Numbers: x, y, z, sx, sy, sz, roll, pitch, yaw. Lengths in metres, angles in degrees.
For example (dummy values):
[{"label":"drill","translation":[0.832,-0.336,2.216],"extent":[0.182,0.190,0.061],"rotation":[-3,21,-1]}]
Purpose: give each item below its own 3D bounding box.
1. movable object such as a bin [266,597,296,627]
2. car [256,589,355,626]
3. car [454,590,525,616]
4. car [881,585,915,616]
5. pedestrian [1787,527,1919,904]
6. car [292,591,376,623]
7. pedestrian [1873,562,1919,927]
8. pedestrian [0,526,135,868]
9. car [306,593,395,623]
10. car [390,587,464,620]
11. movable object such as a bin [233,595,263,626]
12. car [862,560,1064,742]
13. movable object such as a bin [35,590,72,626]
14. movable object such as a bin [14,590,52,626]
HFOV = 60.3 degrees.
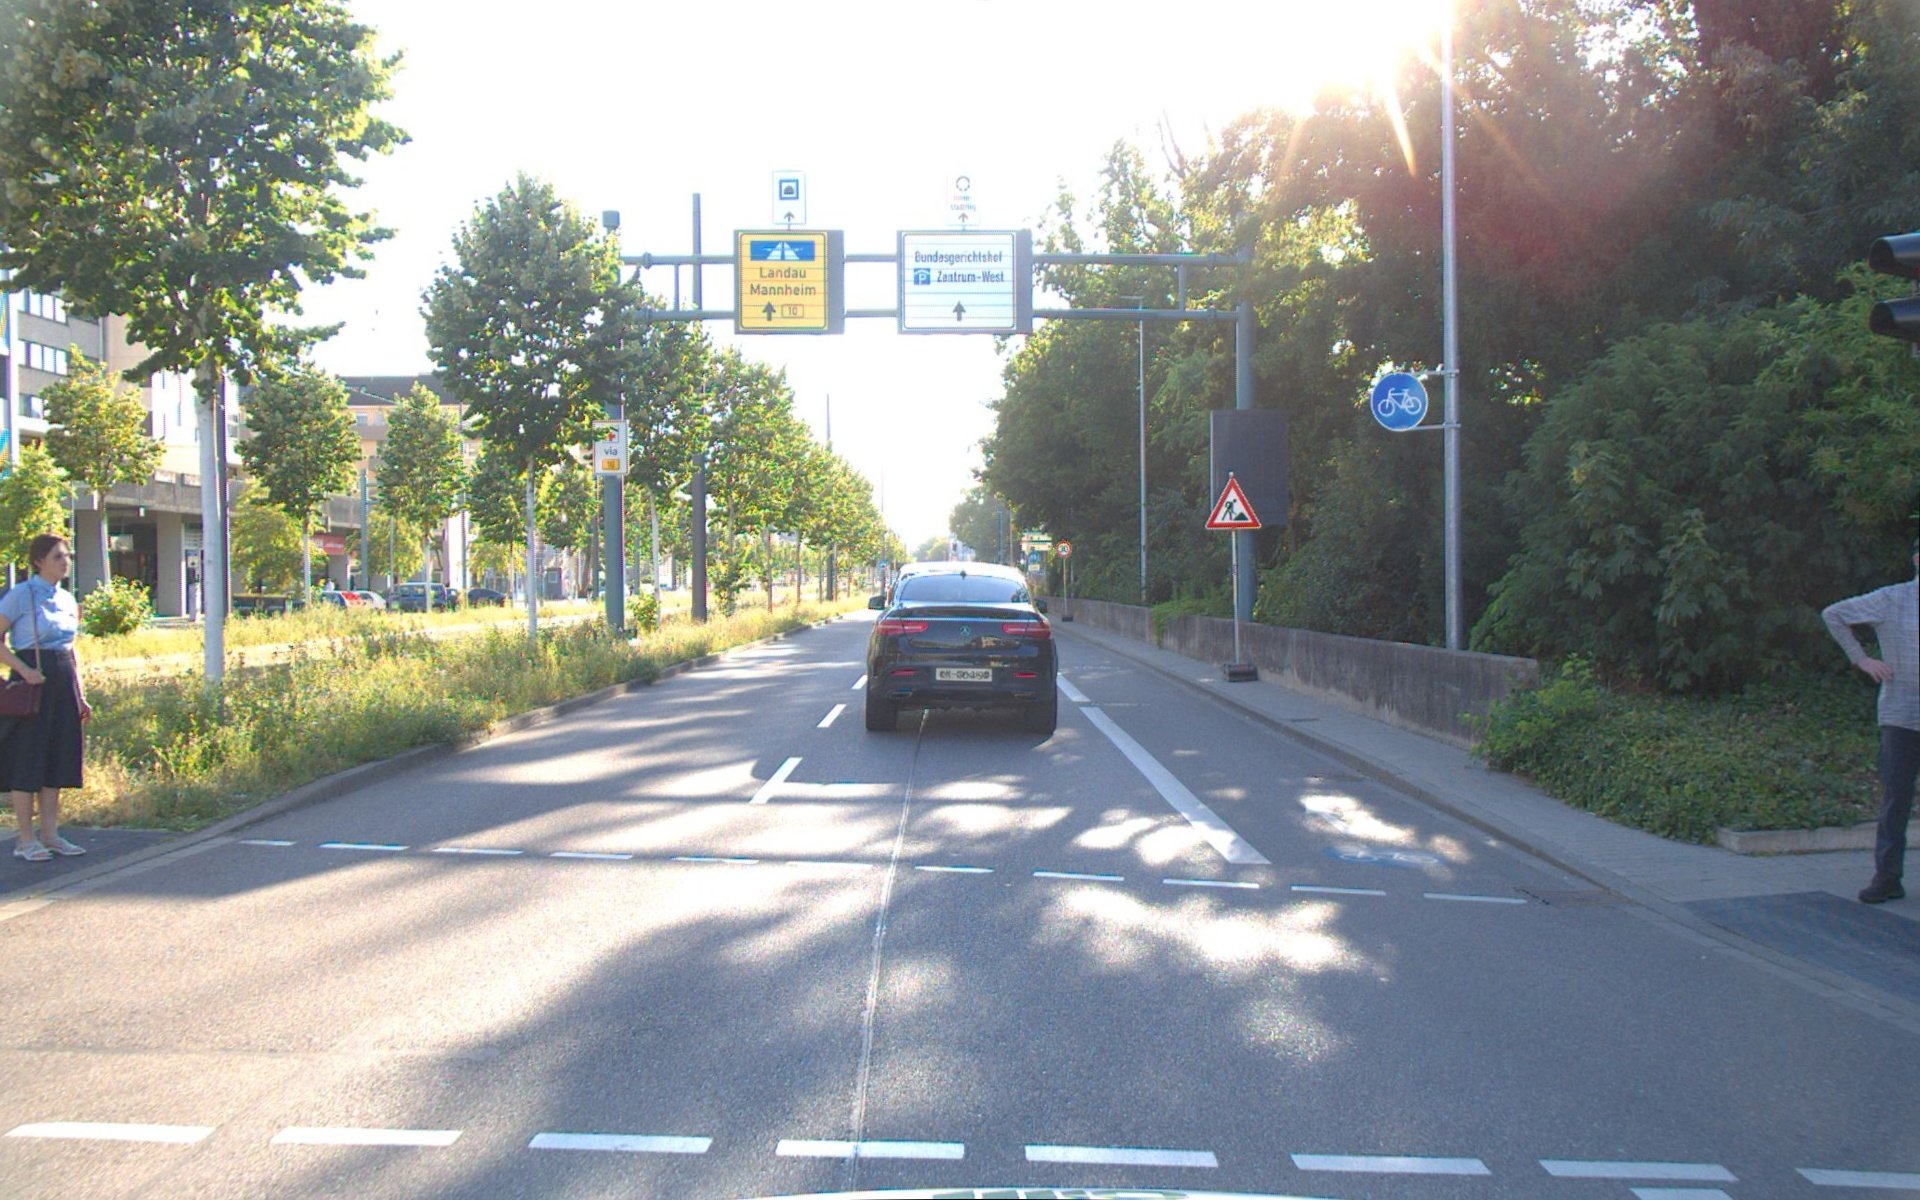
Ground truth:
[{"label":"movable object such as a bin","translation":[-30.395,0.523,74.087],"extent":[0.839,1.303,0.940],"rotation":[-1,0,14]},{"label":"car","translation":[-31.365,0.373,79.273],"extent":[4.060,1.629,1.724],"rotation":[2,1,-42]},{"label":"car","translation":[-30.245,0.174,106.387],"extent":[3.967,1.590,1.969],"rotation":[0,1,-43]},{"label":"car","translation":[-3.455,0.003,92.813],"extent":[1.847,1.608,4.000],"rotation":[0,1,-1]},{"label":"pedestrian","translation":[4.897,0.548,8.410],"extent":[0.850,1.833,0.896],"rotation":[-3,1,-35]},{"label":"car","translation":[-31.364,0.358,82.884],"extent":[3.594,1.550,1.596],"rotation":[1,0,-42]},{"label":"pedestrian","translation":[4.754,0.647,7.459],"extent":[0.752,1.665,0.768],"rotation":[-3,1,-10]},{"label":"pedestrian","translation":[-4.854,0.489,8.726],"extent":[0.586,1.729,0.714],"rotation":[-1,0,5]},{"label":"car","translation":[-31.568,0.395,85.736],"extent":[1.754,1.478,3.977],"rotation":[1,1,41]},{"label":"car","translation":[-31.009,0.199,96.269],"extent":[3.725,1.861,1.798],"rotation":[0,1,-41]},{"label":"movable object such as a bin","translation":[-31.752,0.473,73.748],"extent":[0.839,1.381,0.940],"rotation":[-1,0,14]},{"label":"car","translation":[0.068,0.471,18.116],"extent":[1.952,1.765,4.001],"rotation":[0,1,1]},{"label":"movable object such as a bin","translation":[-37.884,0.329,69.130],"extent":[0.784,1.465,1.403],"rotation":[-1,0,0]},{"label":"movable object such as a bin","translation":[-38.739,0.317,69.120],"extent":[0.784,1.465,1.403],"rotation":[-1,0,0]}]
